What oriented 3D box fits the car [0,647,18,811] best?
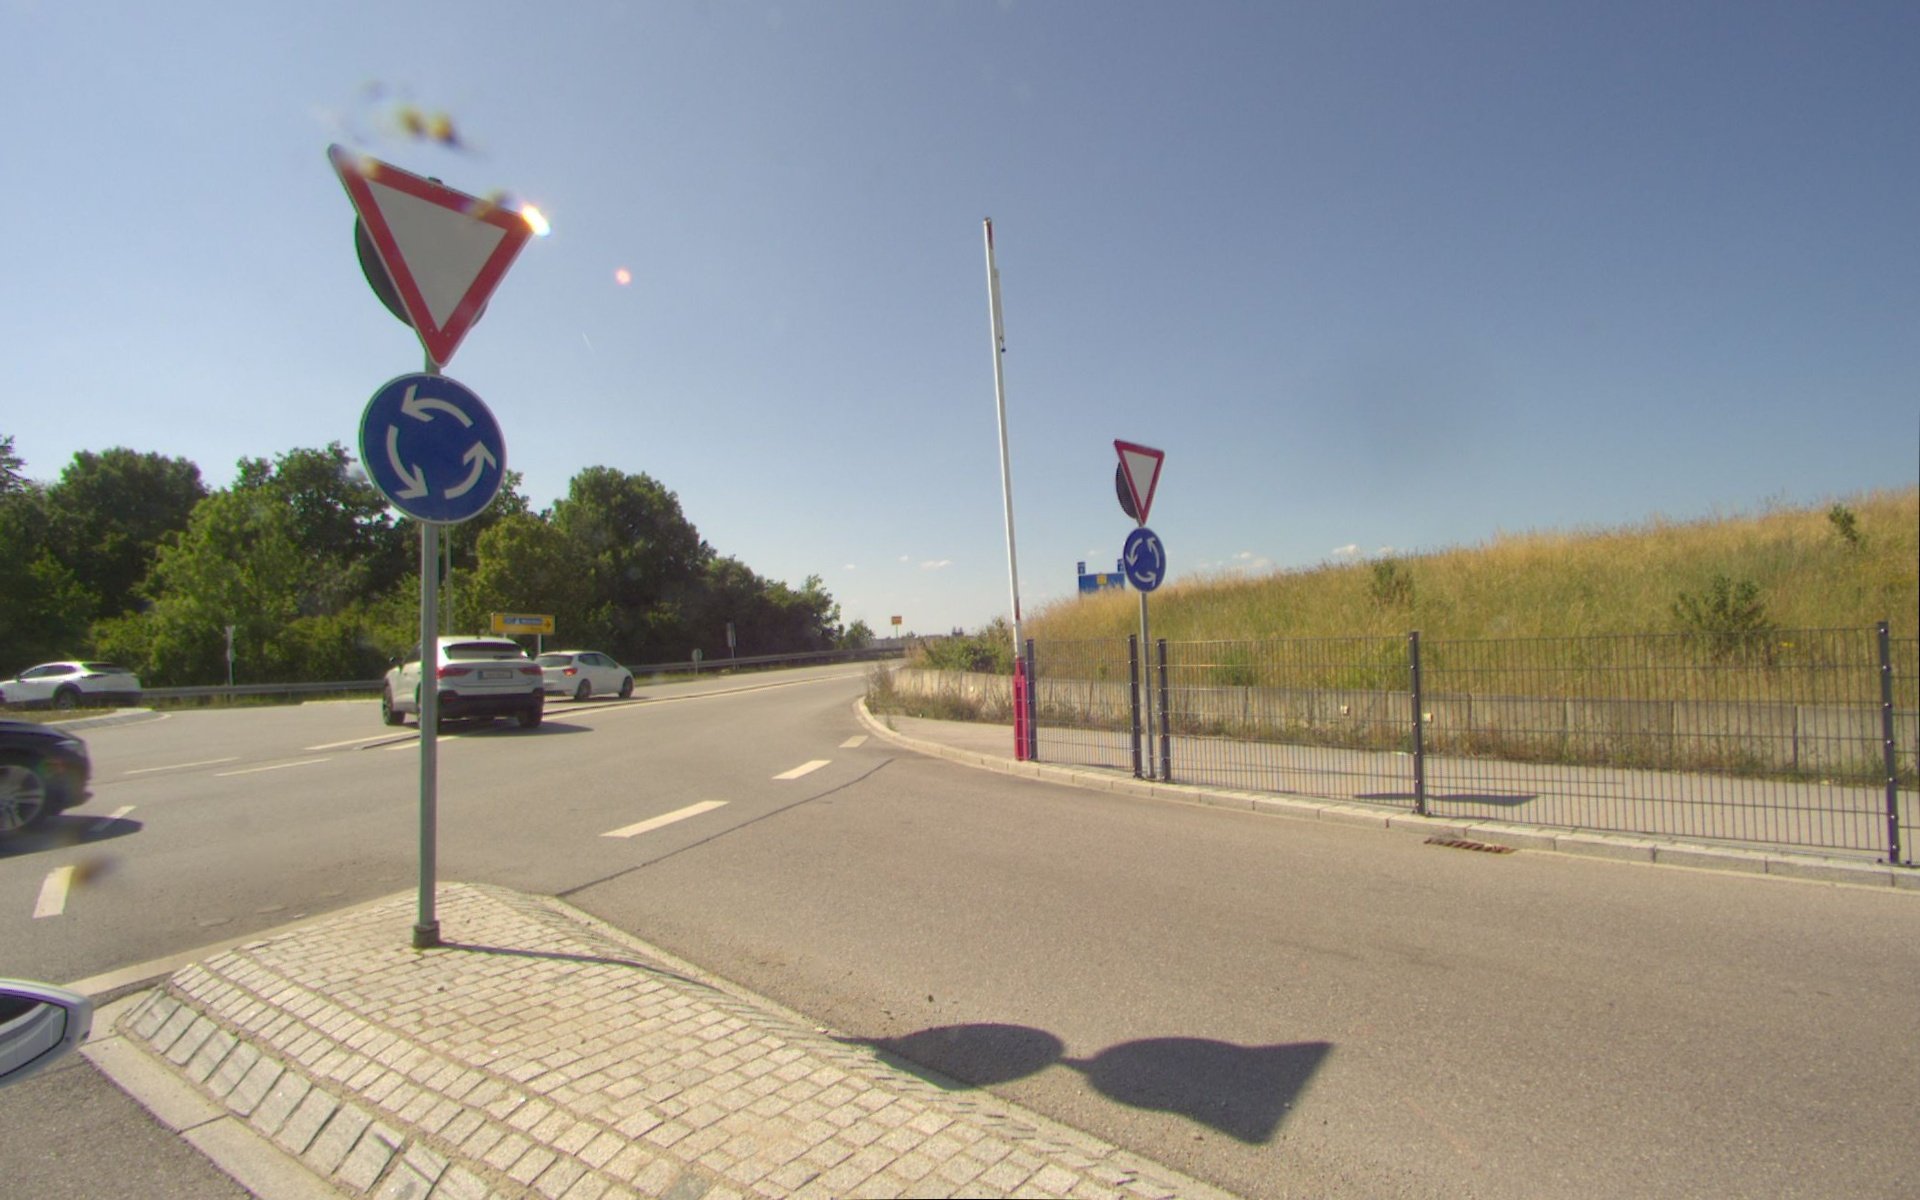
[{"bbox_3d":[-8.503,0.895,5.980,1.649,1.197,3.856,-2,-3,23],"label":"car"}]

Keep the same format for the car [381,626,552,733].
[{"bbox_3d":[-8.725,1.307,17.503,1.826,1.616,4.292,0,-2,-38],"label":"car"}]

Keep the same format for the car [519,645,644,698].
[{"bbox_3d":[-10.941,2.041,29.315,1.757,1.422,4.419,-1,-3,4],"label":"car"}]

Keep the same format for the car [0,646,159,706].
[{"bbox_3d":[-26.316,2.243,29.593,4.207,1.549,1.791,-3,-2,10],"label":"car"}]
